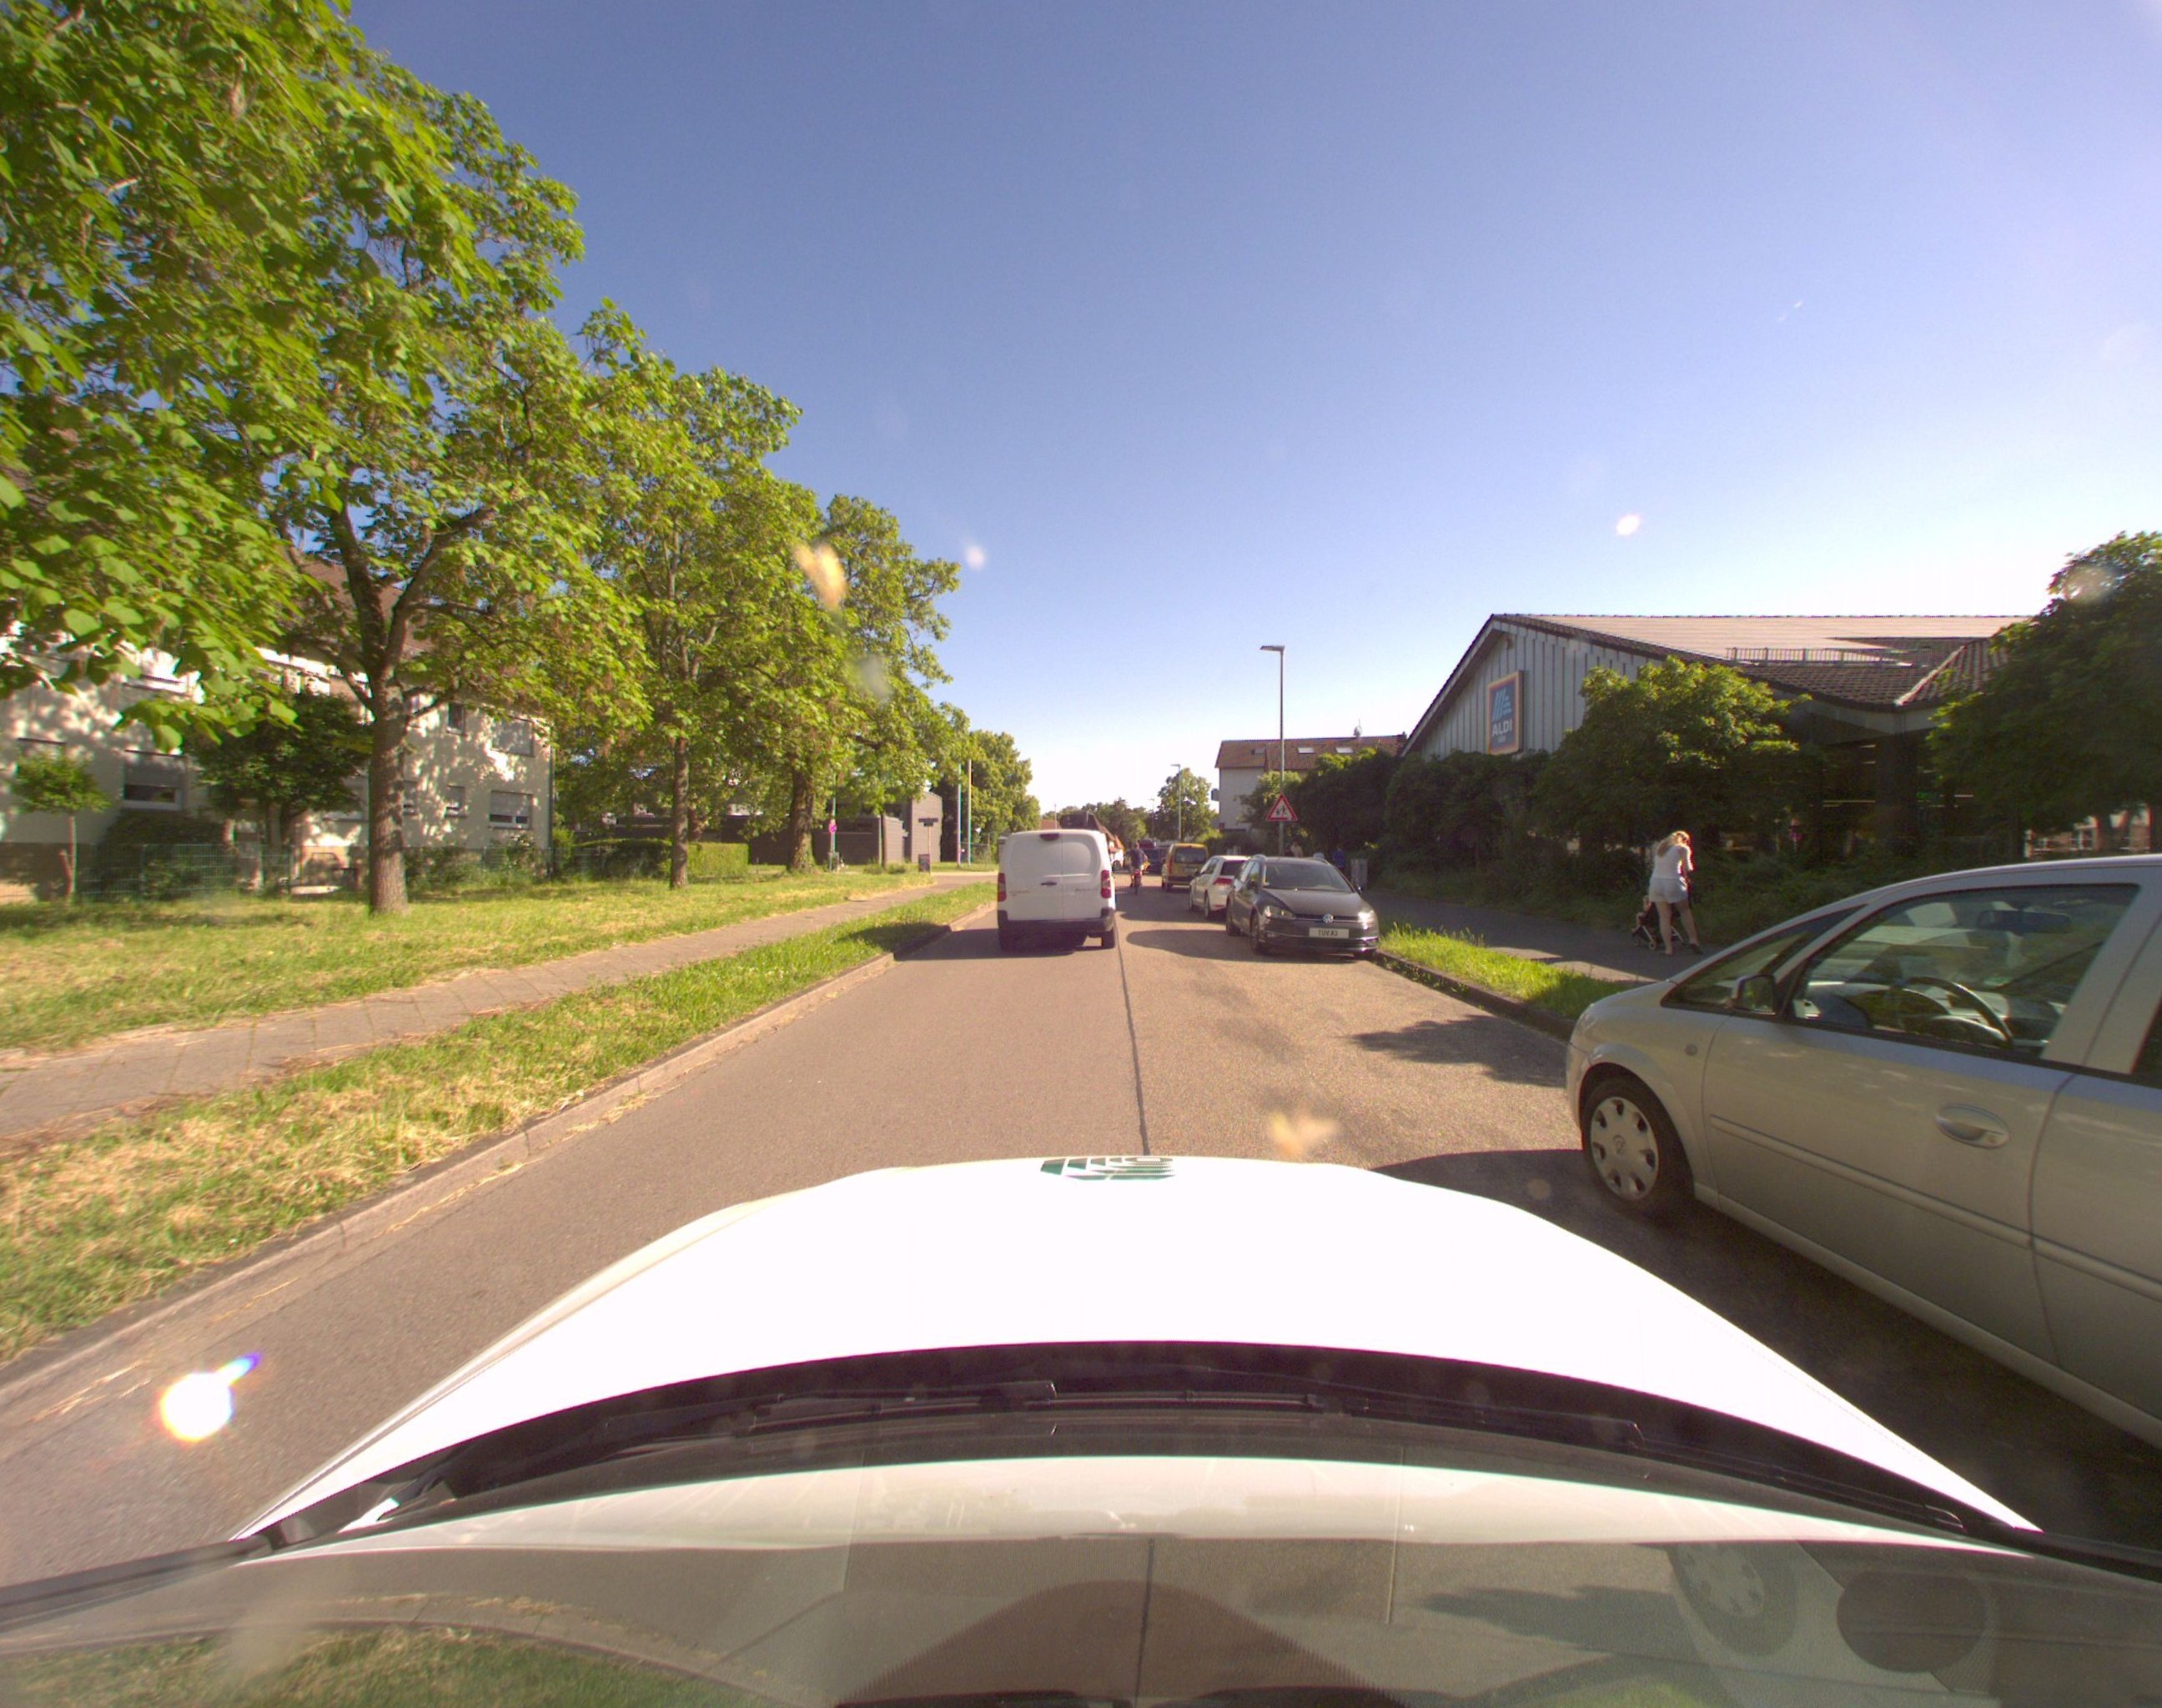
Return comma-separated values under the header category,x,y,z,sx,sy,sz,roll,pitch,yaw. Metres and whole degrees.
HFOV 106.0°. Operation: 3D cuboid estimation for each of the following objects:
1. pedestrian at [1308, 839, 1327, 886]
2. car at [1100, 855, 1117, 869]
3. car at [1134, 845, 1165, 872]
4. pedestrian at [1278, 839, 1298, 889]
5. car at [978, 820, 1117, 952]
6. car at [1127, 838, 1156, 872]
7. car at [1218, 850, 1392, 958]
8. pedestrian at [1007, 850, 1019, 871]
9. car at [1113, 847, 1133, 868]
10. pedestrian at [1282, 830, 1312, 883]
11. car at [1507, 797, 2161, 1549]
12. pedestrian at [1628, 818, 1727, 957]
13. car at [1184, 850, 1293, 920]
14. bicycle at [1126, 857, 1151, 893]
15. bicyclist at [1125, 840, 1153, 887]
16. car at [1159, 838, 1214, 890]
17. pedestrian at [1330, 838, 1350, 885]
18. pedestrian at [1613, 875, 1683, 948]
category,x,y,z,sx,sy,sz,roll,pitch,yaw
pedestrian,8.340,0.296,28.765,0.564,1.637,0.547,0,0,7
car,3.755,1.159,111.526,1.794,1.842,4.009,2,-1,8
car,4.820,0.348,57.611,1.798,1.785,3.999,2,-1,0
pedestrian,6.850,0.323,26.911,0.564,1.637,0.547,0,0,7
car,-0.402,0.433,13.794,1.986,1.881,4.291,0,1,2
car,4.799,0.094,65.018,1.860,2.562,4.767,2,-1,0
car,3.449,0.679,13.394,1.800,1.443,4.365,1,0,2
pedestrian,-4.843,0.469,58.077,0.505,1.445,0.643,3,0,34
car,4.326,0.381,84.222,1.798,2.069,3.999,2,-1,0
pedestrian,7.820,0.084,29.499,0.792,1.861,0.872,1,0,-6
car,3.163,0.722,2.364,1.674,1.599,4.027,3,0,0
pedestrian,7.965,0.422,10.918,0.793,1.782,0.811,0,0,9
car,3.610,0.664,19.360,1.820,1.452,4.000,1,0,0
bicycle,1.963,0.706,27.949,0.783,1.138,2.281,0,0,2
bicyclist,1.988,0.317,27.994,0.902,1.584,0.967,1,-1,1
car,3.955,0.375,31.086,1.717,1.837,4.003,1,0,3
pedestrian,9.111,0.272,28.672,0.564,1.637,0.547,0,0,7
pedestrian,8.159,0.814,11.747,0.529,0.980,0.812,1,0,9
